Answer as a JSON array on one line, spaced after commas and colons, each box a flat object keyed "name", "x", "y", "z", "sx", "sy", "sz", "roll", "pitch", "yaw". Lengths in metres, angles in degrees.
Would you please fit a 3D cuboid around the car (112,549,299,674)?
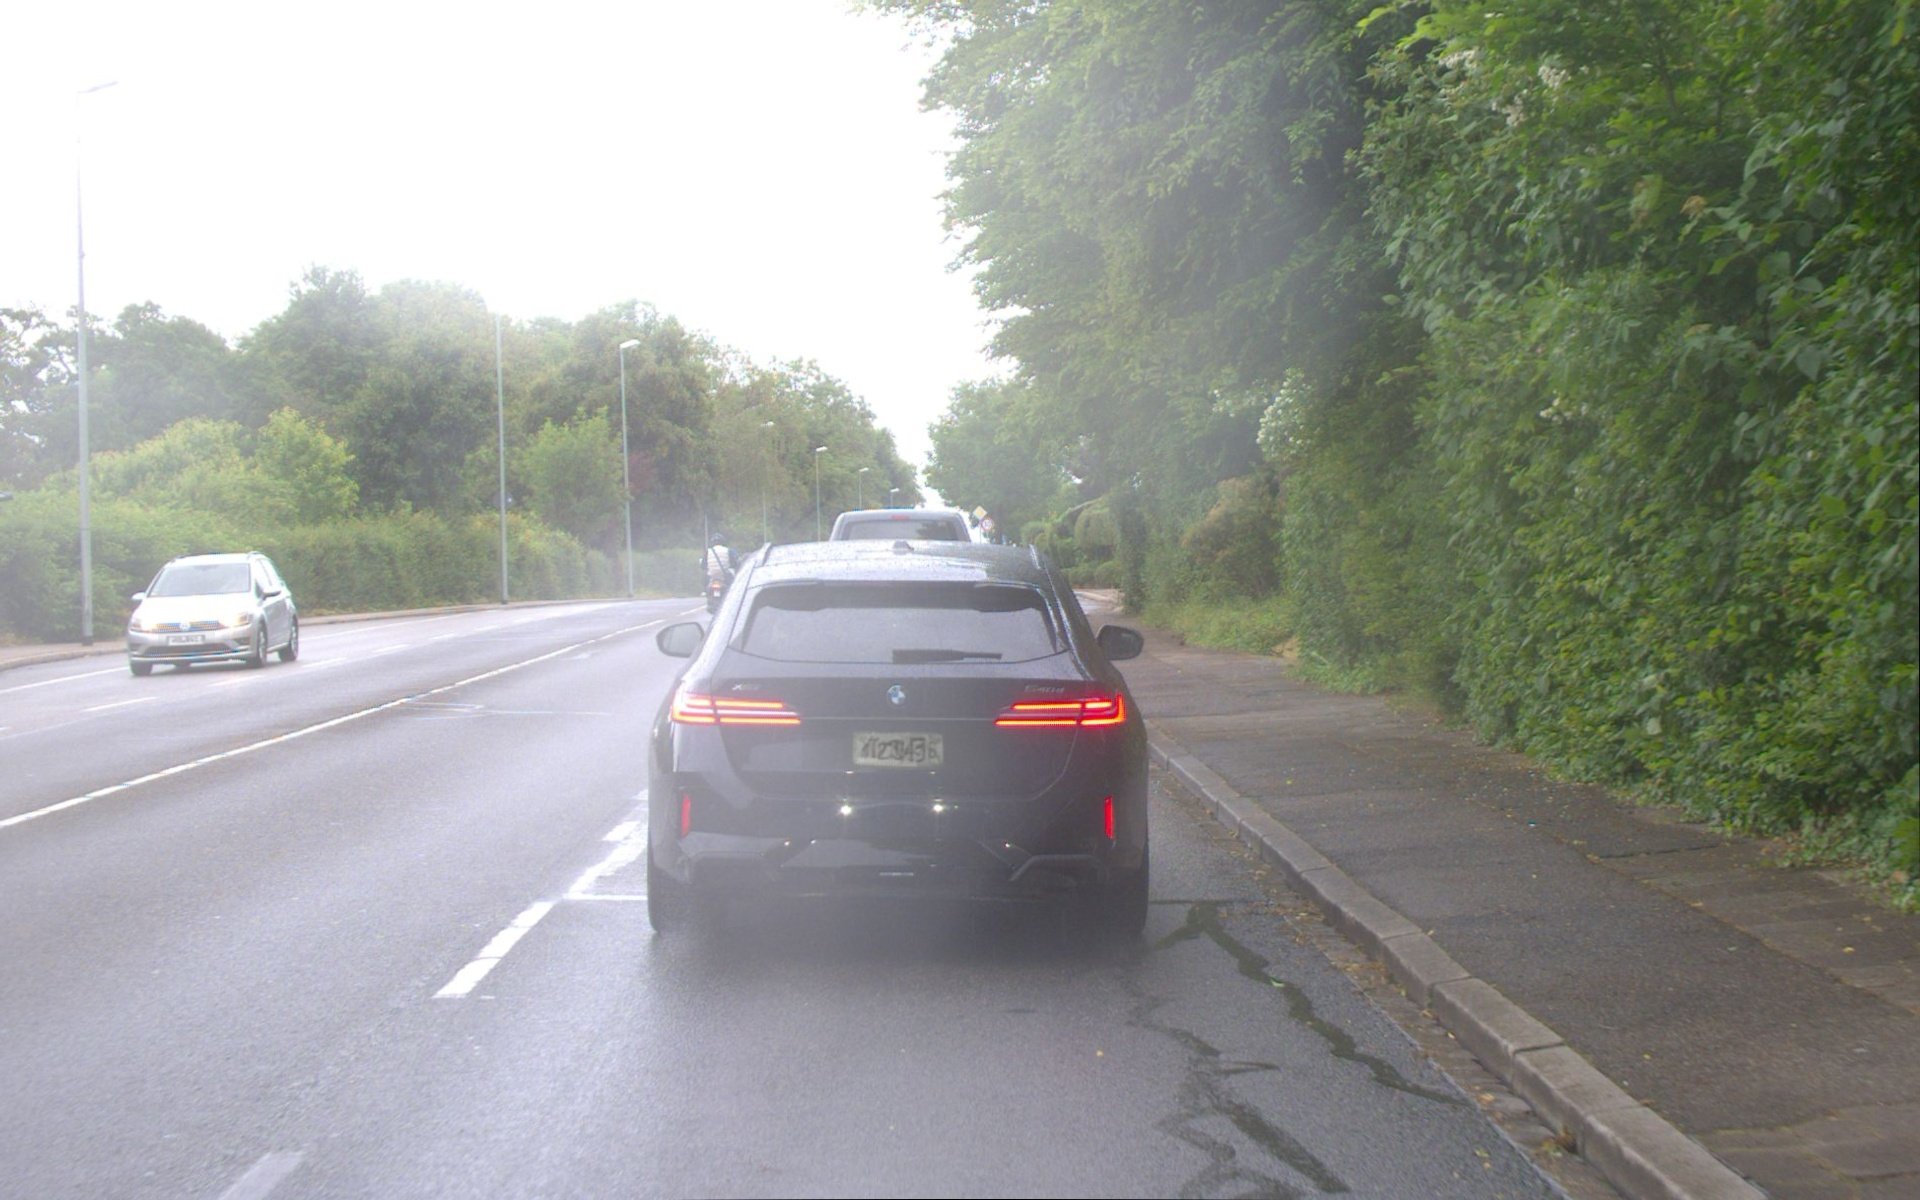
[{"name": "car", "x": -10.322, "y": 0.118, "z": 47.288, "sx": 1.756, "sy": 1.563, "sz": 4.000, "roll": -3, "pitch": 1, "yaw": -2}]

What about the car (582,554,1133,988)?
[{"name": "car", "x": -0.342, "y": 0.576, "z": 13.985, "sx": 1.897, "sy": 1.484, "sz": 4.000, "roll": 1, "pitch": 1, "yaw": 0}]

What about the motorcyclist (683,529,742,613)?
[{"name": "motorcyclist", "x": -4.674, "y": -0.542, "z": 65.047, "sx": 1.039, "sy": 1.562, "sz": 0.855, "roll": 1, "pitch": 0, "yaw": -1}]

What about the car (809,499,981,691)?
[{"name": "car", "x": -0.657, "y": -0.085, "z": 35.690, "sx": 1.629, "sy": 1.827, "sz": 4.000, "roll": -2, "pitch": 1, "yaw": -1}]

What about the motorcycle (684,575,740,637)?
[{"name": "motorcycle", "x": -4.682, "y": 0.107, "z": 64.989, "sx": 0.876, "sy": 1.120, "sz": 2.741, "roll": 1, "pitch": 0, "yaw": -1}]

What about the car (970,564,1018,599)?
[{"name": "car", "x": 1.471, "y": -0.803, "z": 148.143, "sx": 1.935, "sy": 1.437, "sz": 4.408, "roll": -1, "pitch": 1, "yaw": 2}]
